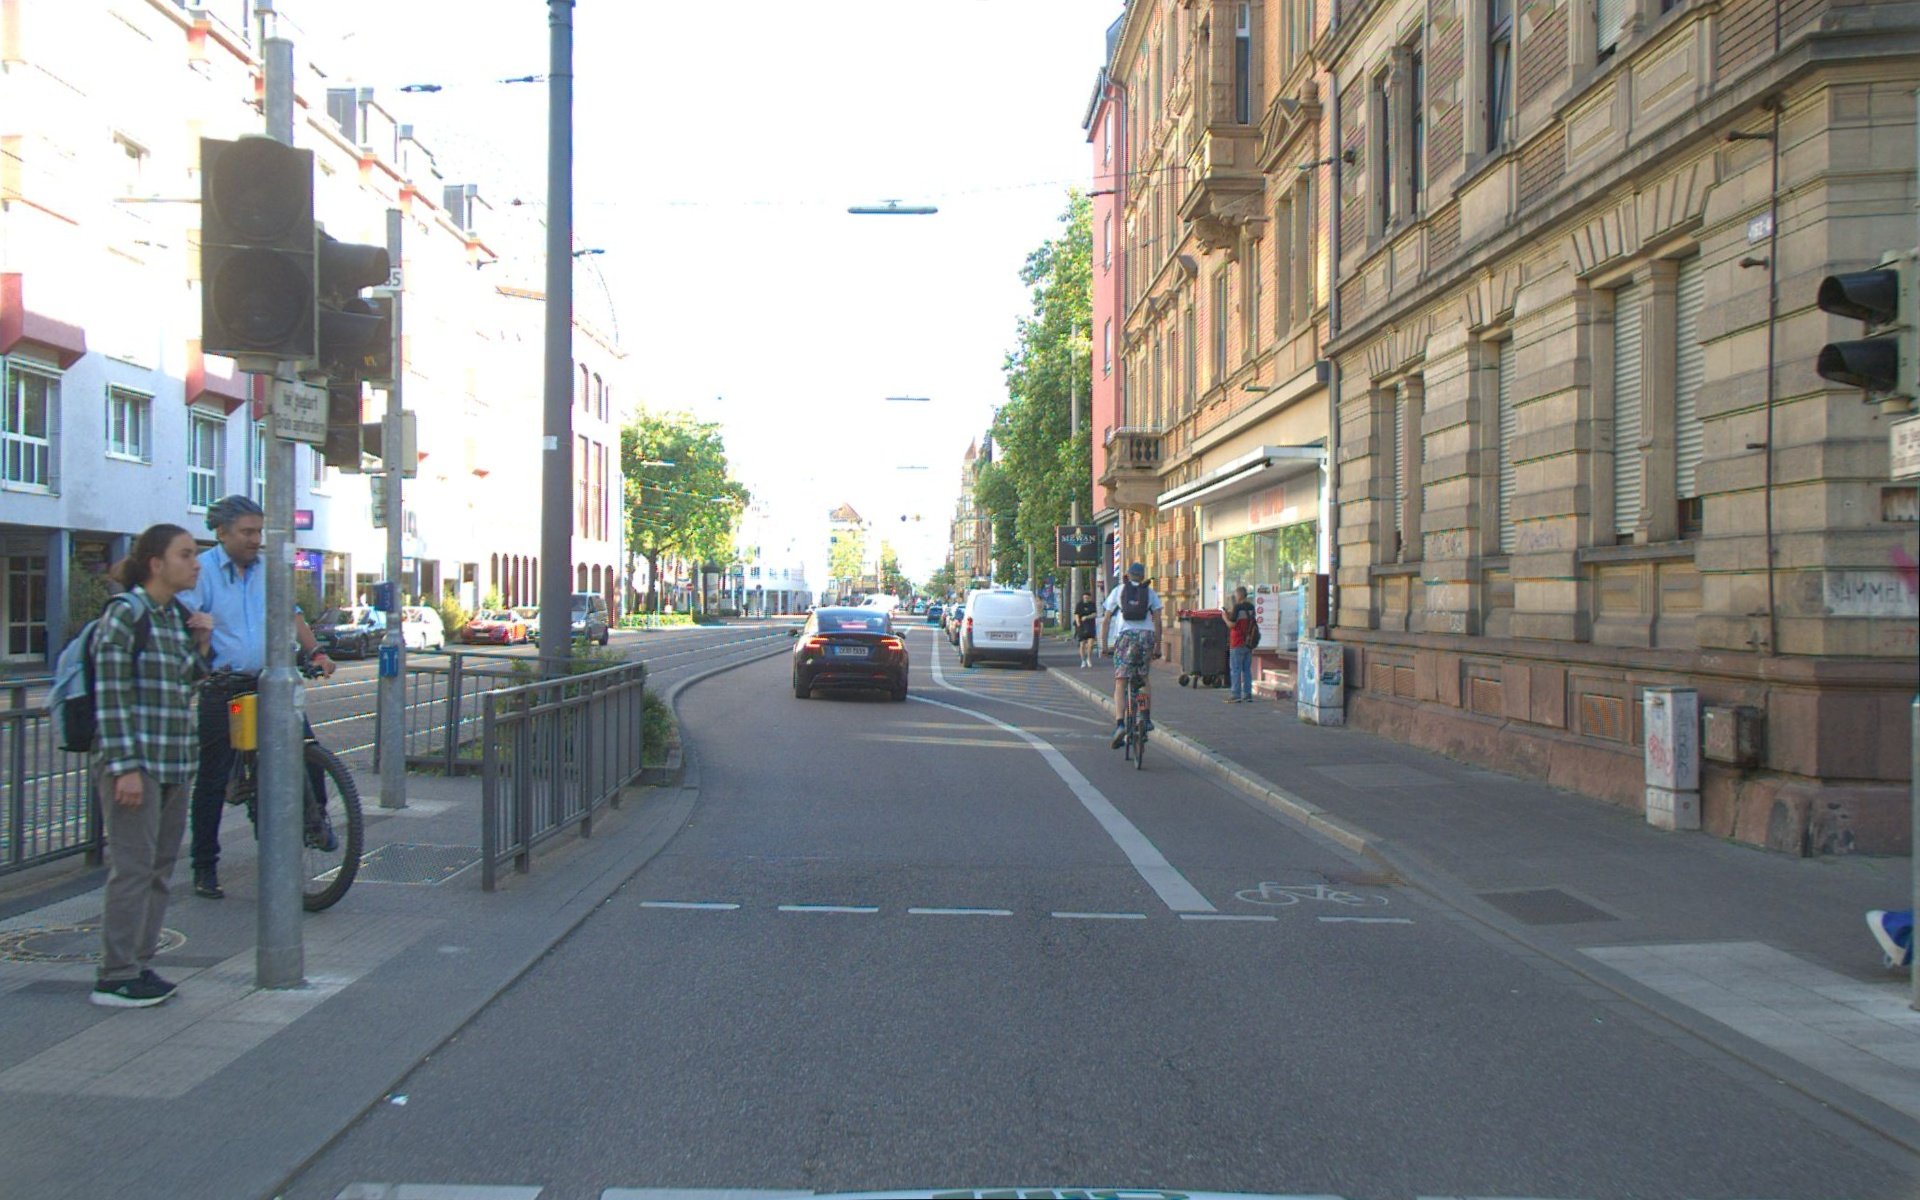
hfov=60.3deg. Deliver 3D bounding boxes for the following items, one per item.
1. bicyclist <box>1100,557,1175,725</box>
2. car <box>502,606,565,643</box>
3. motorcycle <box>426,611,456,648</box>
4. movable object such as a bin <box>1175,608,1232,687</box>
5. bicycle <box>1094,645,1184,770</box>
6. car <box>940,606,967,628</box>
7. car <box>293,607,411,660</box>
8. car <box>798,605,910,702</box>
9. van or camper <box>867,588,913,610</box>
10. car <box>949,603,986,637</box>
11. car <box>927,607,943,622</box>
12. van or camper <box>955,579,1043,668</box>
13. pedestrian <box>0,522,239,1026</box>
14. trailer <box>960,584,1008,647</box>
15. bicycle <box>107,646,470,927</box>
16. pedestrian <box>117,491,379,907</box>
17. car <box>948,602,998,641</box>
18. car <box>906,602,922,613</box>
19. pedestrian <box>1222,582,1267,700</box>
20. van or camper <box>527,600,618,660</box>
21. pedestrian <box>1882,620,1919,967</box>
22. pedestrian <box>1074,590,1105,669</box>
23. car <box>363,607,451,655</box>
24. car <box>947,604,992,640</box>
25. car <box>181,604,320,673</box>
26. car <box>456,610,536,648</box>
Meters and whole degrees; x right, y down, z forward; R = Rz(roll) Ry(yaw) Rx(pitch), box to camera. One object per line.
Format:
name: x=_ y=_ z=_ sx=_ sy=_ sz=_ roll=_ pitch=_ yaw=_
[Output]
bicyclist: x=1.824 y=0.415 z=17.127 sx=0.641 sy=1.685 sz=0.927 roll=1 pitch=-1 yaw=-1
car: x=-18.331 y=1.045 z=71.185 sx=1.635 sy=1.494 sz=4.289 roll=2 pitch=0 yaw=-1
motorcycle: x=-19.681 y=1.107 z=62.787 sx=0.508 sy=1.320 sz=2.081 roll=2 pitch=0 yaw=-2
movable object such as a bin: x=4.334 y=0.834 z=29.515 sx=0.760 sy=1.371 sz=1.298 roll=0 pitch=-1 yaw=-3
bicycle: x=1.820 y=1.072 z=17.074 sx=0.634 sy=1.159 sz=2.095 roll=1 pitch=0 yaw=-1
car: x=-0.460 y=1.164 z=113.278 sx=1.676 sy=1.482 sz=4.549 roll=1 pitch=-1 yaw=-1
car: x=-17.958 y=0.952 z=49.088 sx=1.863 sy=1.483 sz=4.824 roll=0 pitch=0 yaw=-2
car: x=-1.685 y=0.829 z=27.170 sx=1.685 sy=1.430 sz=3.708 roll=1 pitch=0 yaw=-2
van or camper: x=-9.065 y=-0.118 z=214.700 sx=2.105 sy=2.700 sz=6.850 roll=-1 pitch=-1 yaw=38
car: x=0.370 y=1.008 z=84.272 sx=1.679 sy=1.618 sz=4.063 roll=2 pitch=0 yaw=-2
car: x=-2.488 y=1.392 z=163.527 sx=1.561 sy=1.458 sz=3.685 roll=0 pitch=-1 yaw=0
van or camper: x=0.924 y=0.605 z=42.264 sx=1.892 sy=2.072 sz=5.473 roll=2 pitch=-1 yaw=-2
pedestrian: x=-2.892 y=0.570 z=5.708 sx=0.508 sy=1.618 sz=0.665 roll=3 pitch=-1 yaw=-11
trailer: x=0.848 y=0.544 z=59.673 sx=1.627 sy=2.154 sz=3.842 roll=2 pitch=-1 yaw=0
bicycle: x=-3.296 y=0.845 z=8.051 sx=1.904 sy=1.113 sz=0.597 roll=3 pitch=0 yaw=33
pedestrian: x=-3.389 y=0.441 z=7.922 sx=0.582 sy=1.853 sz=0.940 roll=2 pitch=0 yaw=31
car: x=0.485 y=0.861 z=67.652 sx=1.766 sy=1.460 sz=4.321 roll=3 pitch=-1 yaw=-3
car: x=-6.515 y=1.032 z=234.318 sx=1.955 sy=1.552 sz=3.996 roll=0 pitch=0 yaw=-5
pedestrian: x=4.303 y=0.608 z=24.978 sx=0.461 sy=1.759 sz=0.586 roll=0 pitch=1 yaw=35
van or camper: x=-13.822 y=1.038 z=59.284 sx=1.952 sy=1.974 sz=4.835 roll=-2 pitch=0 yaw=1
pedestrian: x=4.356 y=0.818 z=7.069 sx=0.562 sy=1.439 sz=0.581 roll=2 pitch=0 yaw=15
pedestrian: x=3.084 y=0.702 z=39.493 sx=0.659 sy=1.846 sz=0.755 roll=0 pitch=-1 yaw=-2
car: x=-18.091 y=0.987 z=54.281 sx=1.717 sy=1.500 sz=4.204 roll=0 pitch=0 yaw=-4
car: x=0.436 y=0.946 z=72.279 sx=1.713 sy=1.468 sz=4.317 roll=1 pitch=0 yaw=4
car: x=-17.926 y=0.936 z=42.017 sx=1.879 sy=1.642 sz=4.366 roll=0 pitch=0 yaw=-4
car: x=-18.277 y=1.121 z=65.349 sx=1.921 sy=1.348 sz=4.818 roll=2 pitch=0 yaw=-2
